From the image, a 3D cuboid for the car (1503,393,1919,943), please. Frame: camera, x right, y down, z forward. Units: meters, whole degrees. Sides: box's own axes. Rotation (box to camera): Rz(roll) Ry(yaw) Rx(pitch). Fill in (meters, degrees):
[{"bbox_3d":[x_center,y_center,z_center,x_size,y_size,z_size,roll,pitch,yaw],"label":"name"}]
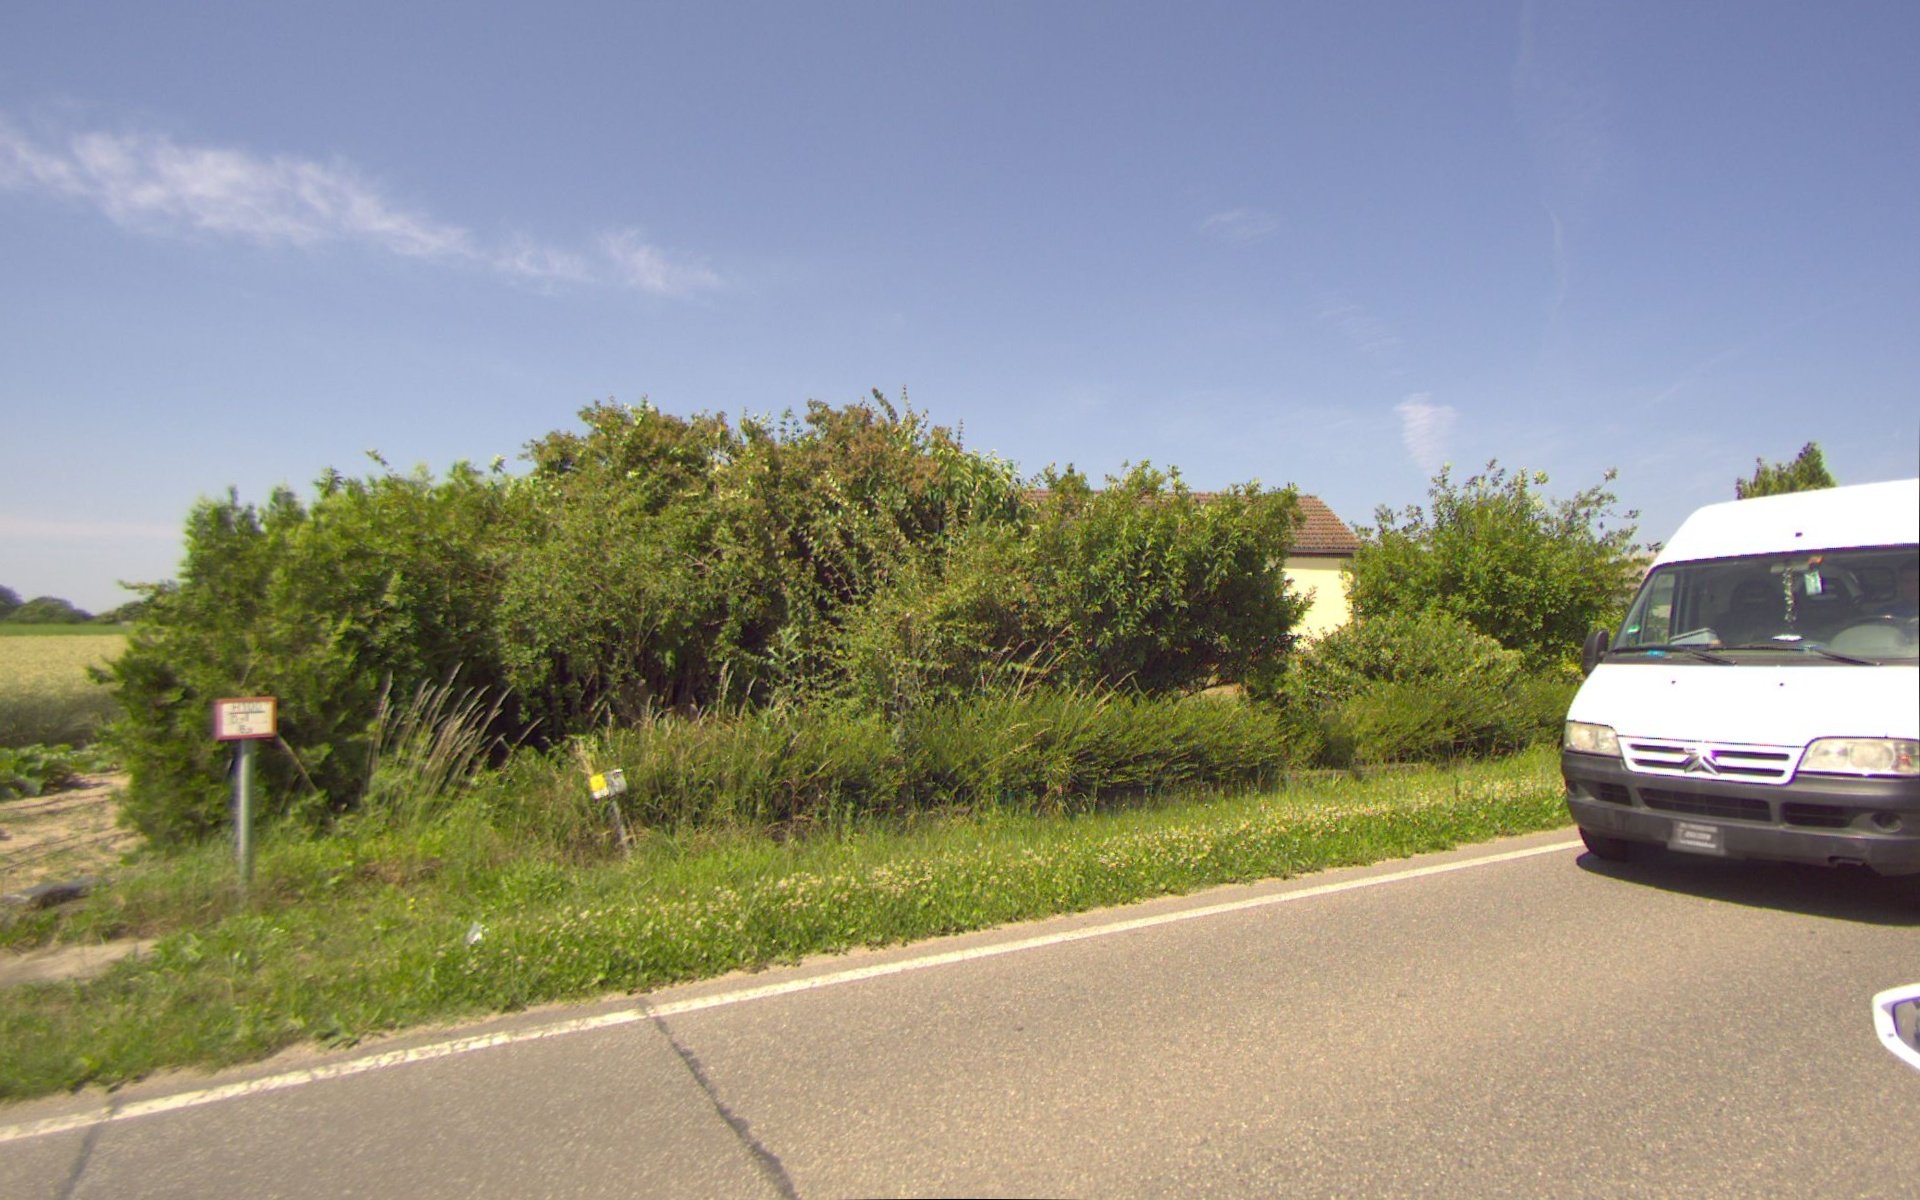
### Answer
[{"bbox_3d":[6.521,0.397,7.025,5.804,2.575,2.068,1,-3,-30],"label":"car"}]
